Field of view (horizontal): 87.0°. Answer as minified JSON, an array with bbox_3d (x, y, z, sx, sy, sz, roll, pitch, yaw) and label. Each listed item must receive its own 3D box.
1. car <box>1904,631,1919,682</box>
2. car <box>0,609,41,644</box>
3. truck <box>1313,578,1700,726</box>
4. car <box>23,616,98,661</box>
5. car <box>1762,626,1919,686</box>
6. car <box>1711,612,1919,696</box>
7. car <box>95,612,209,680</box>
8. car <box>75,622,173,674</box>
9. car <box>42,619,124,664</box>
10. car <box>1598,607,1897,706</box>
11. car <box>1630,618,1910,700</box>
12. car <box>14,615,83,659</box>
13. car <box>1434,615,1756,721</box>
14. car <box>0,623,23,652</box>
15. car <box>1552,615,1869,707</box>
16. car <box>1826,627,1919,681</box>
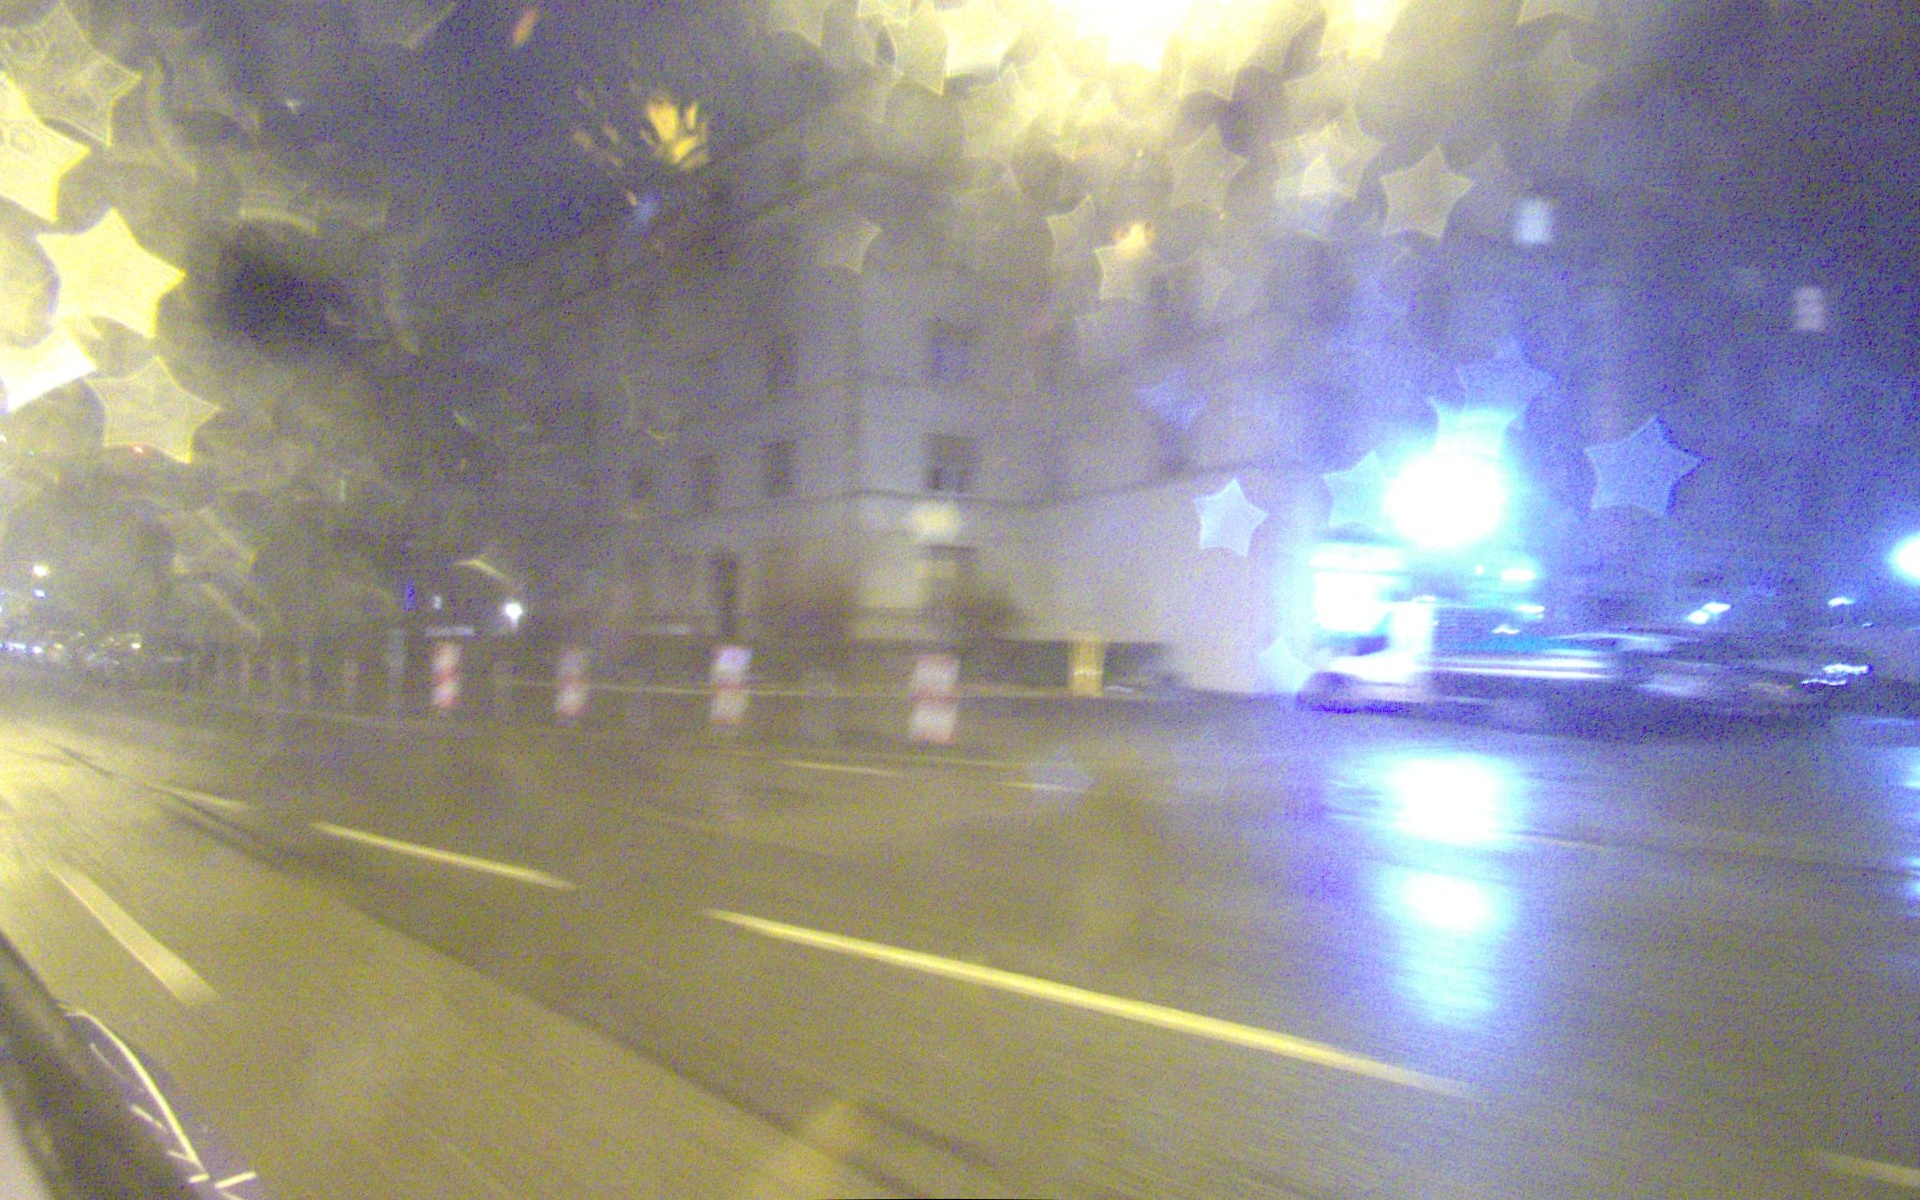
[{"bbox_3d":[29.023,1.584,27.556,1.838,1.454,4.508,1,-2,-29],"label":"car"},{"bbox_3d":[-47.146,1.300,50.551,3.372,1.632,1.459,-1,0,41],"label":"car"},{"bbox_3d":[8.670,0.825,16.699,2.093,2.029,5.278,1,-3,-30],"label":"truck"},{"bbox_3d":[-32.973,1.386,37.072,4.274,1.498,1.580,-1,-5,43],"label":"car"},{"bbox_3d":[23.976,1.424,26.320,1.838,1.454,4.508,1,-2,-29],"label":"car"},{"bbox_3d":[20.267,1.185,23.224,1.838,1.774,4.508,1,-2,-29],"label":"car"},{"bbox_3d":[-20.857,1.157,26.071,4.379,1.576,1.580,-1,-5,43],"label":"car"},{"bbox_3d":[-24.469,1.377,29.581,4.354,1.384,1.580,-1,-5,43],"label":"car"},{"bbox_3d":[-28.642,1.349,33.009,4.067,1.384,1.580,-2,-3,43],"label":"car"},{"bbox_3d":[16.060,1.094,20.930,1.838,1.808,4.508,1,-2,-29],"label":"car"},{"bbox_3d":[17.844,1.229,22.557,1.838,1.625,4.508,1,-2,-29],"label":"car"},{"bbox_3d":[-36.551,1.452,40.537,4.258,1.617,1.580,-1,-5,43],"label":"car"},{"bbox_3d":[11.043,1.106,17.989,1.838,1.625,4.508,1,-2,-29],"label":"car"},{"bbox_3d":[-50.840,1.954,53.687,3.375,1.471,1.415,-1,-5,44],"label":"car"},{"bbox_3d":[14.112,1.082,19.353,1.838,1.552,4.508,1,-2,-29],"label":"car"},{"bbox_3d":[26.567,1.455,27.297,1.838,1.454,4.508,1,-2,-29],"label":"car"}]
